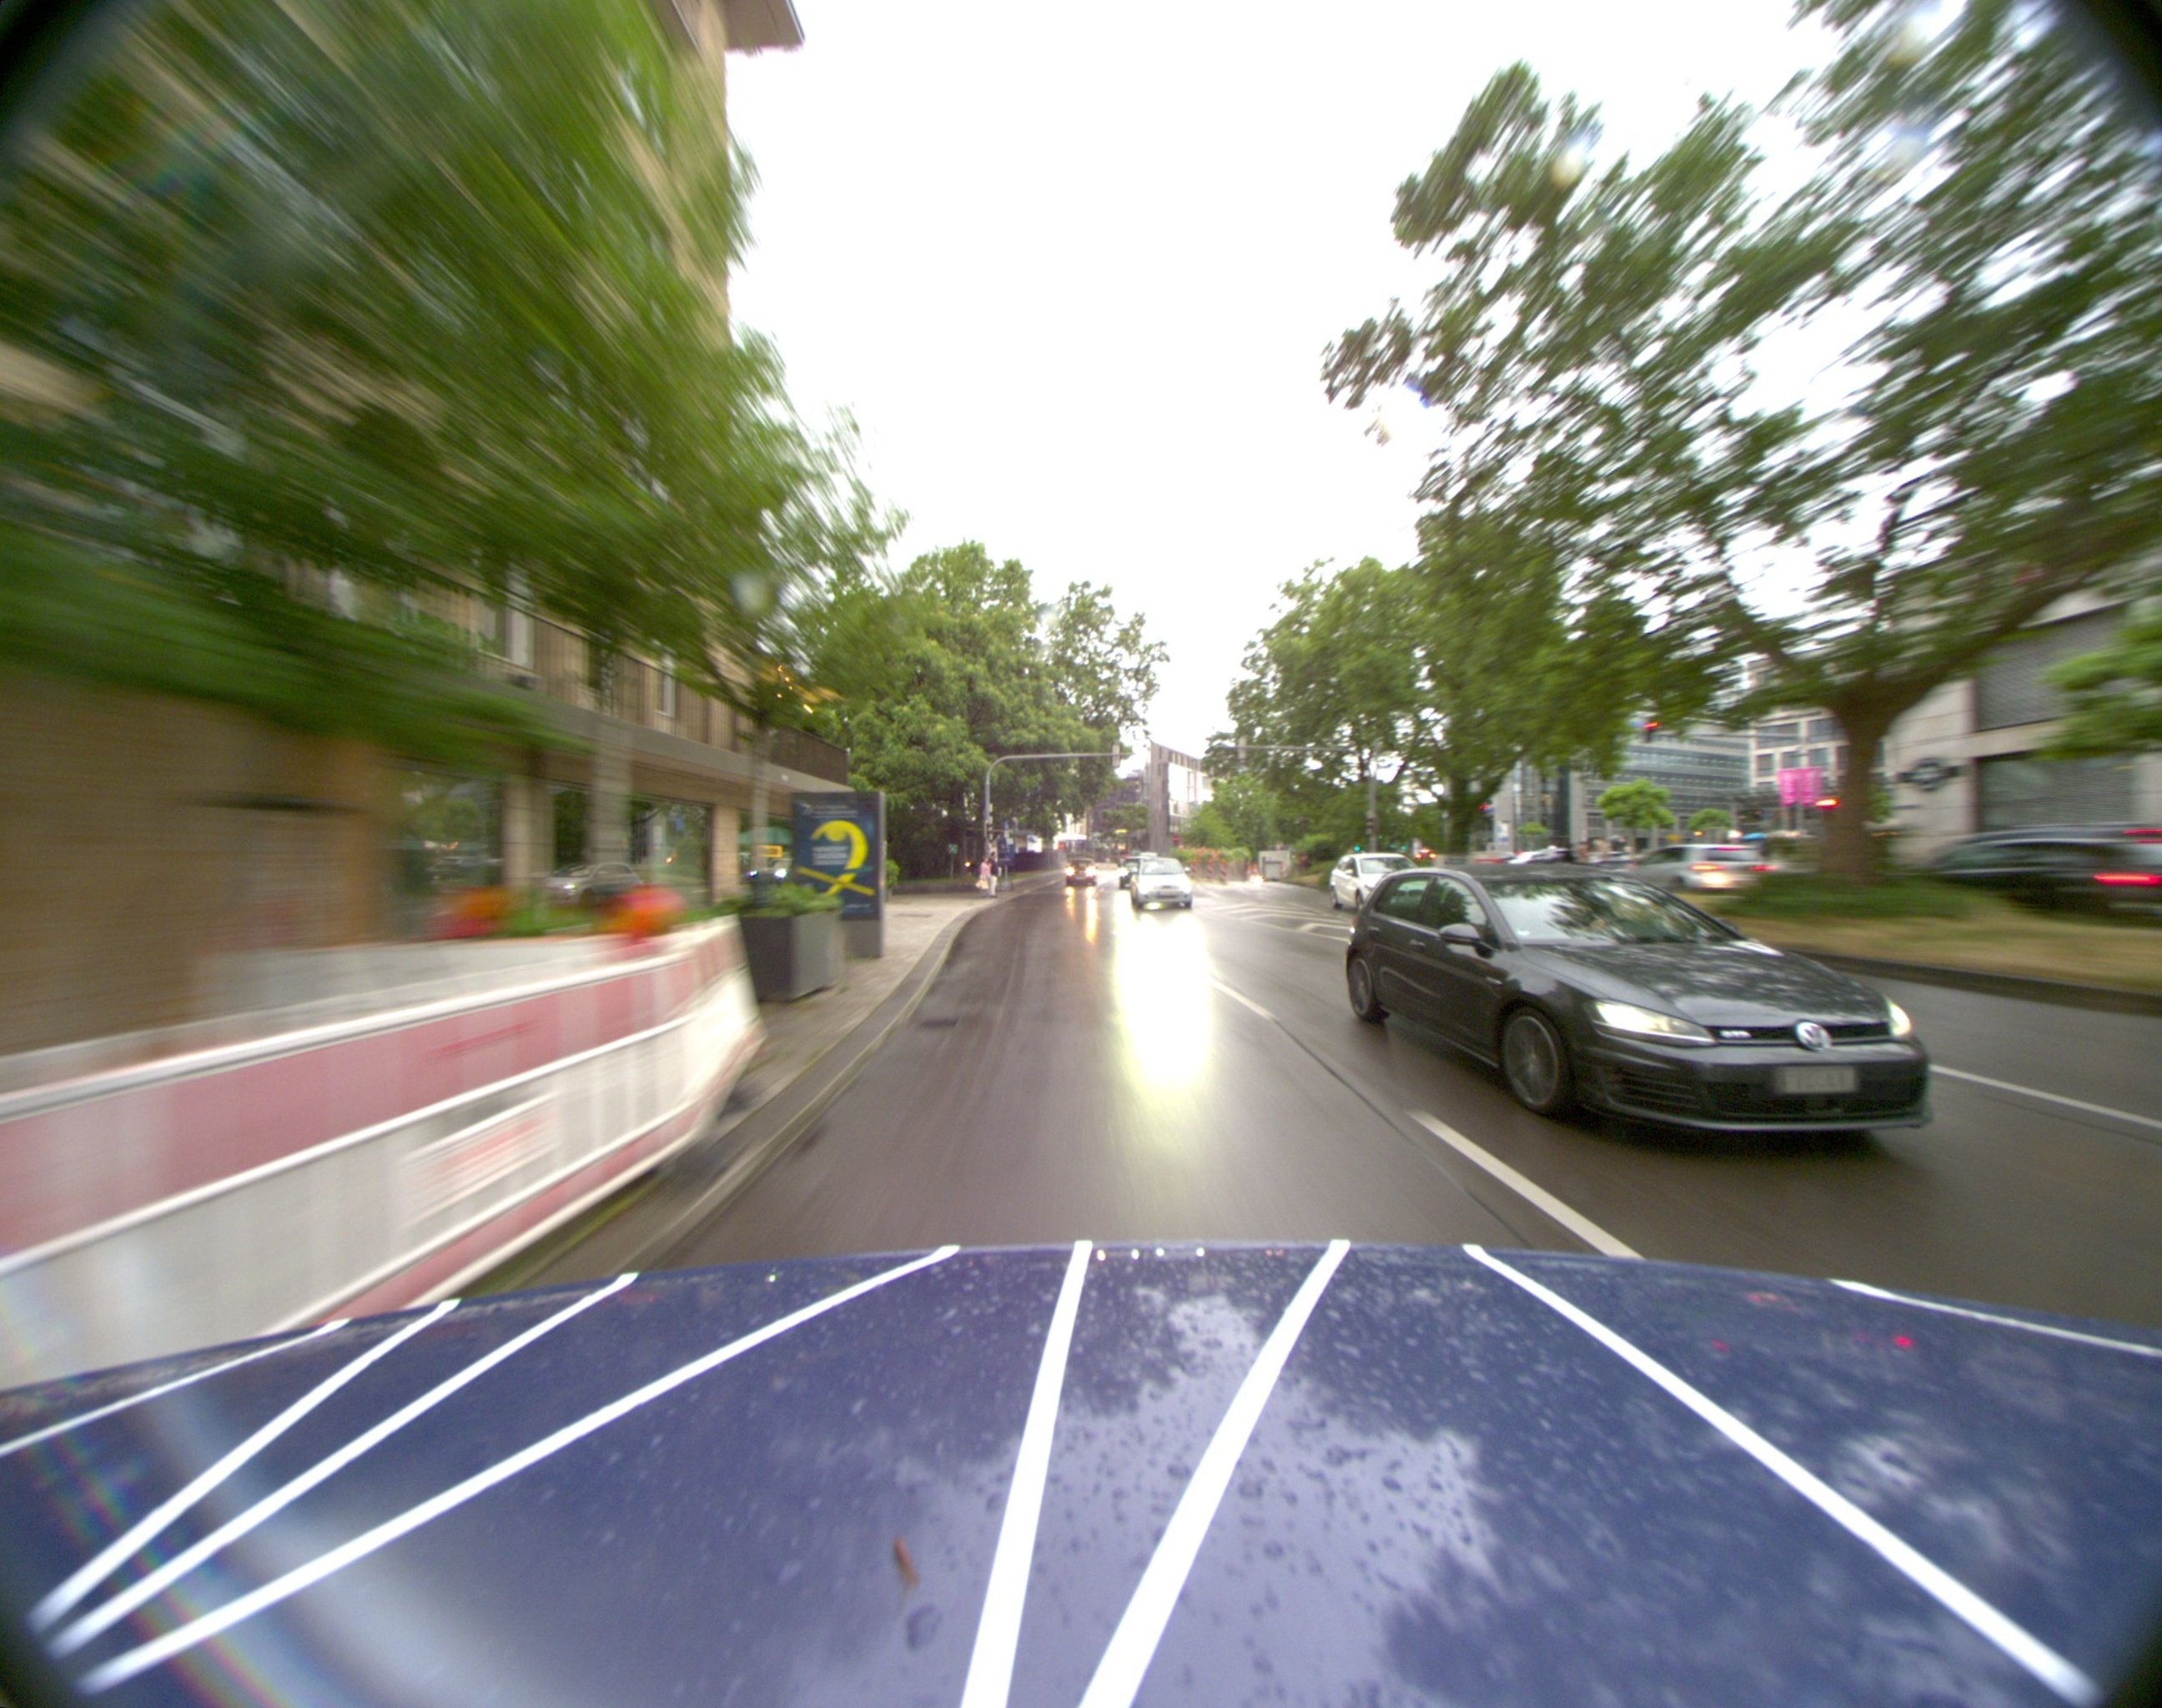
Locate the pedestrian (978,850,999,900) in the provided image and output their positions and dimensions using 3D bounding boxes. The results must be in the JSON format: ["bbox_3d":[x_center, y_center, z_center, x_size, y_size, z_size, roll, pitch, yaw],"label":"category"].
[{"bbox_3d":[-3.471,0.770,28.436,0.592,1.824,0.628,-1,1,-24],"label":"pedestrian"}]

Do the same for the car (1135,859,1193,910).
[{"bbox_3d":[2.603,0.934,24.445,1.611,1.432,3.495,-2,0,3],"label":"car"}]

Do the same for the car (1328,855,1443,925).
[{"bbox_3d":[7.865,0.864,20.022,1.780,1.587,4.001,-1,1,6],"label":"car"}]

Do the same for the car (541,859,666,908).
[{"bbox_3d":[-16.343,0.947,26.252,1.670,1.489,4.000,-1,0,2],"label":"car"}]

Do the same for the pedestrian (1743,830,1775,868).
[{"bbox_3d":[34.391,-0.248,38.541,0.589,1.913,1.125,-2,0,3],"label":"pedestrian"}]

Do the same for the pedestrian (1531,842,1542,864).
[{"bbox_3d":[37.584,-0.051,62.682,0.747,1.779,0.424,-2,1,35],"label":"pedestrian"}]

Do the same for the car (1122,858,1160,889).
[{"bbox_3d":[3.065,0.941,38.221,1.715,1.433,3.496,0,0,8],"label":"car"}]

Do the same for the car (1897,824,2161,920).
[{"bbox_3d":[19.014,0.277,14.972,1.834,1.630,4.094,0,1,8],"label":"car"}]

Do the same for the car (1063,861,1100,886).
[{"bbox_3d":[0.094,1.075,42.638,1.716,1.274,3.495,0,0,6],"label":"car"}]

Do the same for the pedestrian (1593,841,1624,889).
[{"bbox_3d":[17.968,0.356,25.877,0.611,1.604,0.640,-1,0,-27],"label":"pedestrian"}]

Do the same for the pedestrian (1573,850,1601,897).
[{"bbox_3d":[17.639,0.684,26.477,0.449,1.604,0.640,-1,0,-27],"label":"pedestrian"}]

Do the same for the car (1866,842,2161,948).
[{"bbox_3d":[14.871,0.505,11.747,1.750,1.357,3.945,0,1,8],"label":"car"}]

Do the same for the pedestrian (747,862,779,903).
[{"bbox_3d":[-8.362,0.754,19.970,0.555,1.049,0.545,-1,0,5],"label":"pedestrian"}]

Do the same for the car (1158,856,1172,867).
[{"bbox_3d":[13.241,1.173,119.313,1.997,1.733,3.912,-1,0,10],"label":"car"}]

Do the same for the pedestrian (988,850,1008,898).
[{"bbox_3d":[-3.184,0.756,29.188,0.634,1.824,0.563,0,1,7],"label":"pedestrian"}]

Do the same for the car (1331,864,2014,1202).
[{"bbox_3d":[3.353,0.843,5.502,1.789,1.444,4.123,-1,0,1],"label":"car"}]

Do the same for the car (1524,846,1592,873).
[{"bbox_3d":[30.022,0.307,47.979,1.997,1.642,4.730,0,1,10],"label":"car"}]

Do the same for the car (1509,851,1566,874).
[{"bbox_3d":[31.660,0.560,52.836,2.010,1.525,4.439,0,1,11],"label":"car"}]

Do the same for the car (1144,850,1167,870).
[{"bbox_3d":[6.719,0.566,69.071,1.998,1.733,3.911,-1,0,4],"label":"car"}]

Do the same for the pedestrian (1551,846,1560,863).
[{"bbox_3d":[44.161,0.054,70.740,0.577,1.617,0.564,-1,1,42],"label":"pedestrian"}]

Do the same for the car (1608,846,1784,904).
[{"bbox_3d":[16.047,0.488,20.125,1.750,1.357,4.133,0,1,8],"label":"car"}]

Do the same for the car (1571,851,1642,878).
[{"bbox_3d":[29.407,0.546,42.667,1.845,1.373,4.045,0,1,12],"label":"car"}]

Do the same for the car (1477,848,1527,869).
[{"bbox_3d":[32.873,0.321,59.479,2.010,1.525,4.714,0,1,11],"label":"car"}]

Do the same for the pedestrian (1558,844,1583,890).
[{"bbox_3d":[17.430,0.464,27.057,0.425,1.604,0.554,-1,0,-15],"label":"pedestrian"}]
